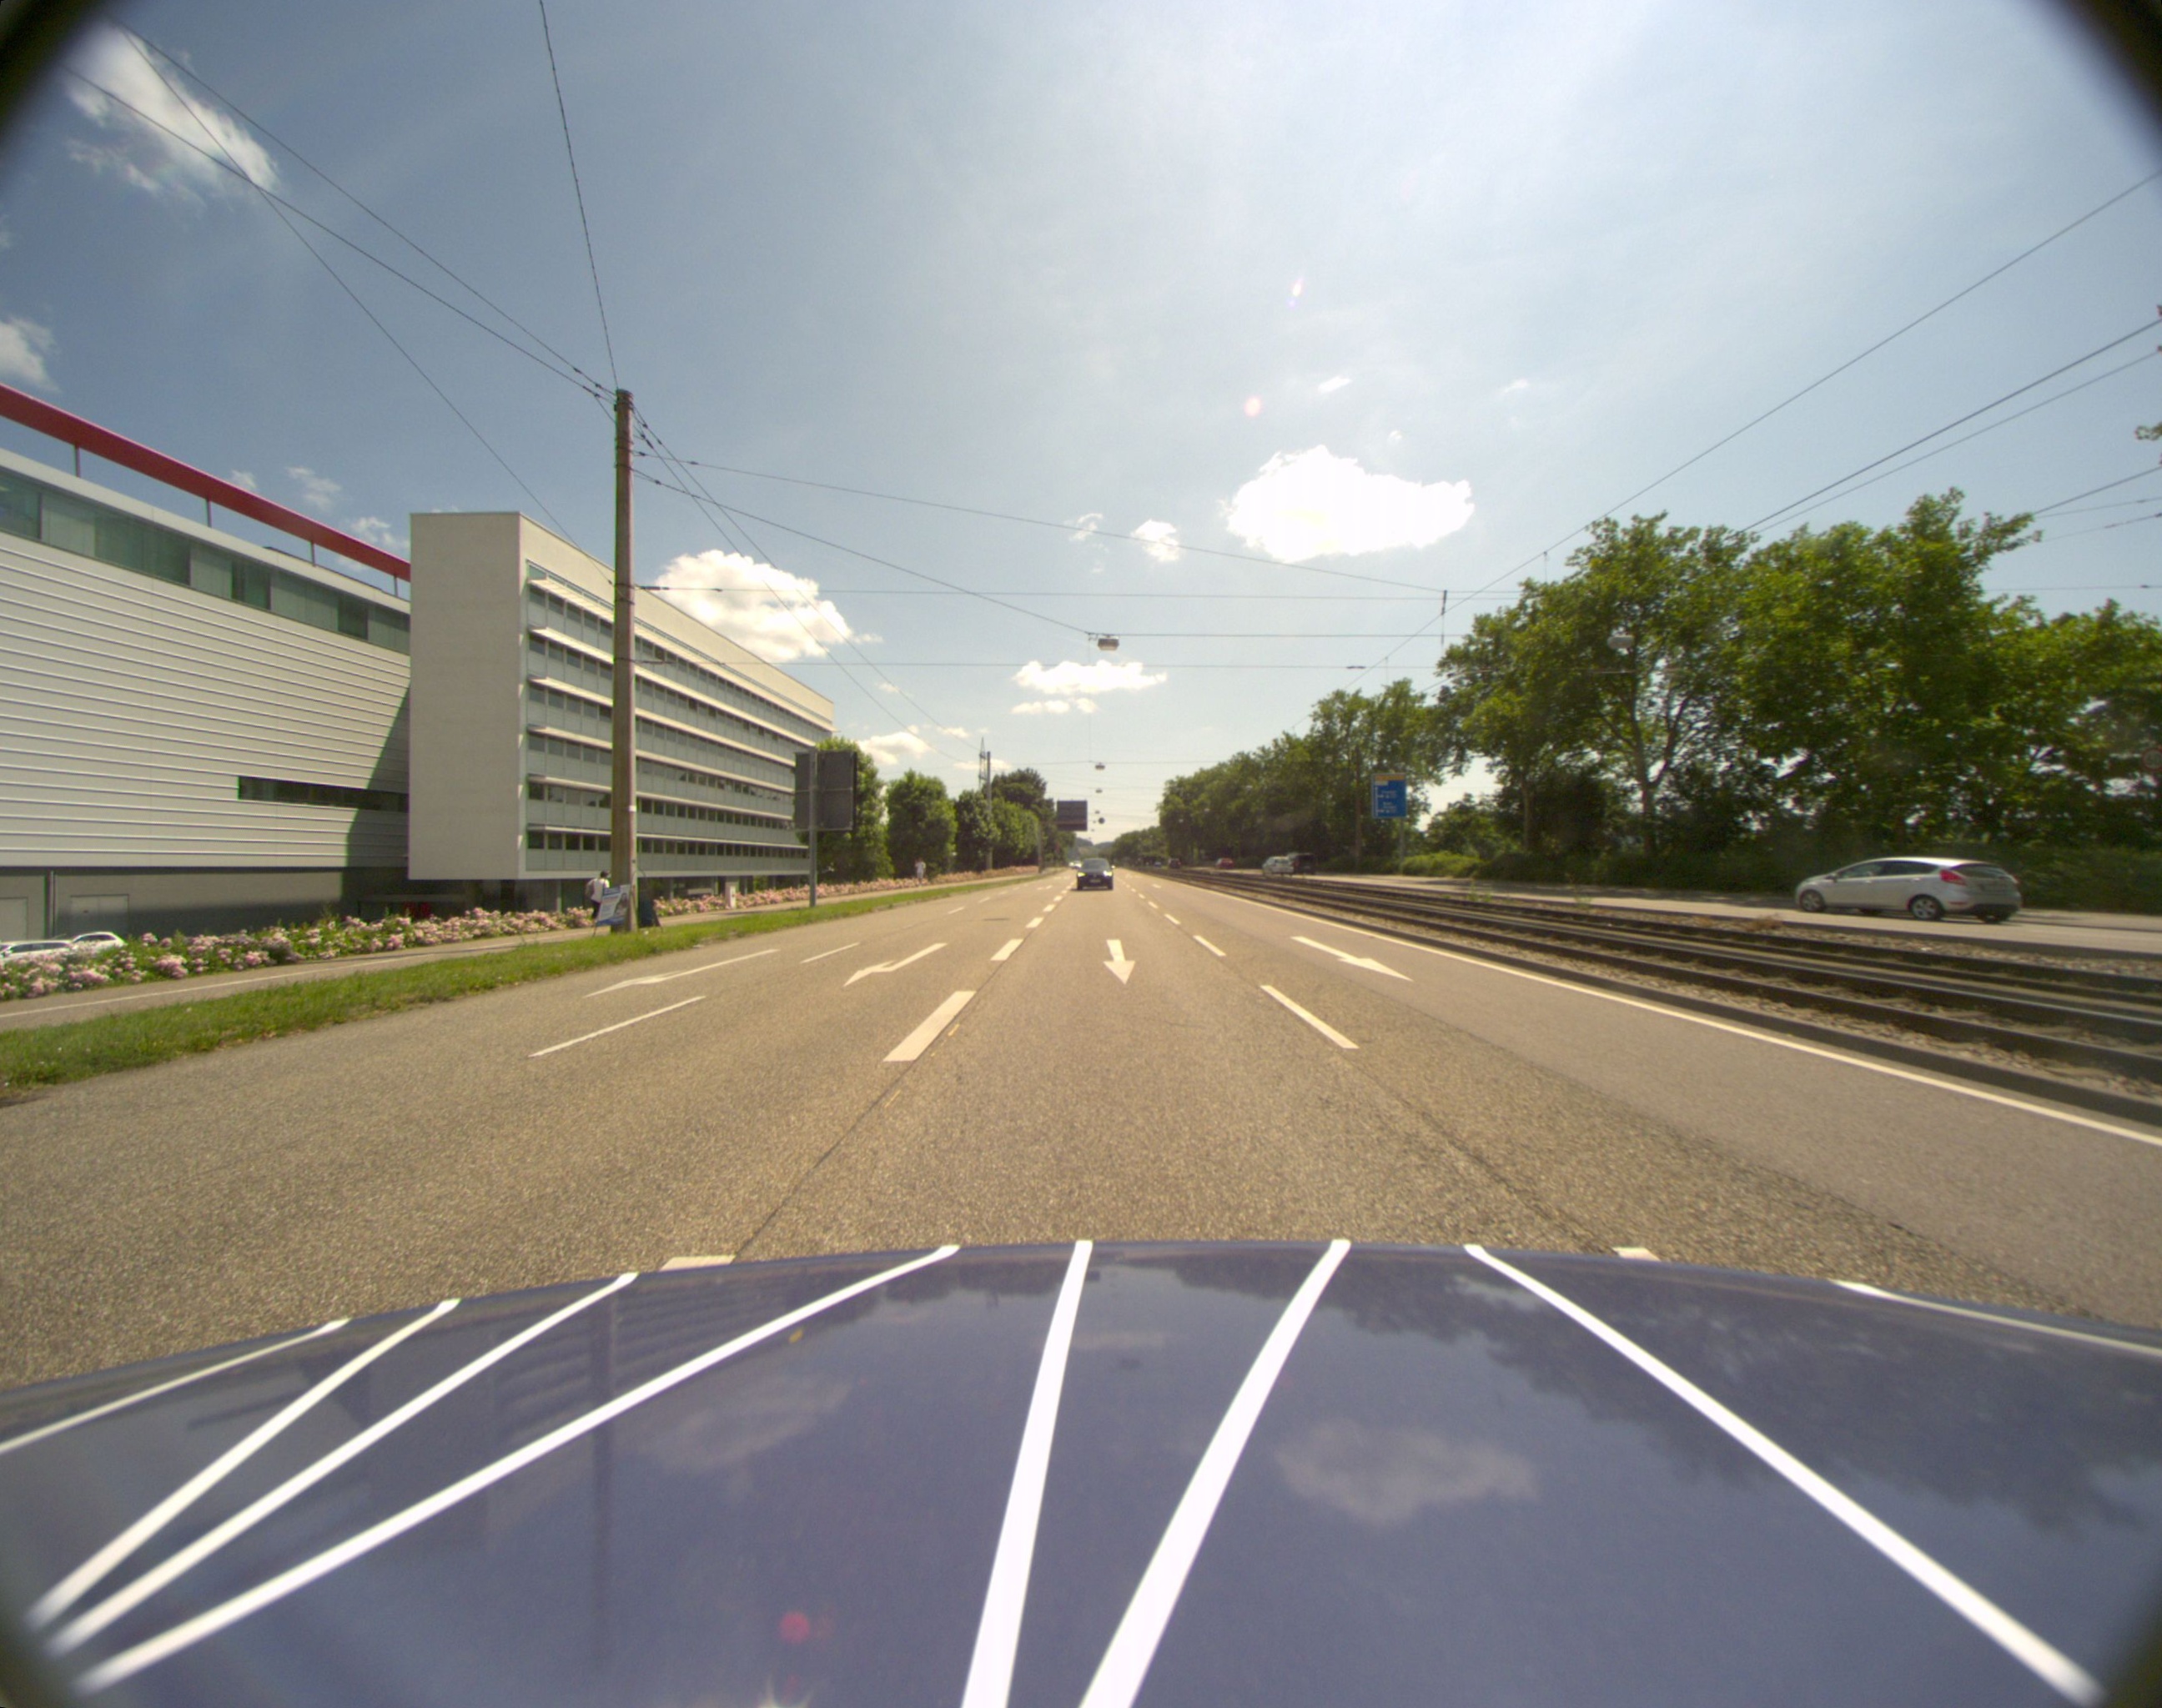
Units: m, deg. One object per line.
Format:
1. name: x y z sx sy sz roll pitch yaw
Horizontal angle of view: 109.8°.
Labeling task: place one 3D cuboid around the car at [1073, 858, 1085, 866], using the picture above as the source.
1. car: -0.320 1.444 133.023 1.896 1.331 4.000 -2 0 1

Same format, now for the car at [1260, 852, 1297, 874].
1. car: 15.216 0.659 58.753 1.690 1.574 4.058 2 0 -1

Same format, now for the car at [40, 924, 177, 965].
1. car: -51.025 4.725 40.005 1.998 1.602 4.000 -2 0 1

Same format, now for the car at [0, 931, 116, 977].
1. car: -48.687 4.655 34.921 1.998 1.602 5.146 -2 0 1

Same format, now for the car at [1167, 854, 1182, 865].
1. car: 16.050 1.003 130.670 1.999 1.820 4.969 1 0 -1

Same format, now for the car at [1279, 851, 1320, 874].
1. car: 18.553 0.685 64.727 1.999 1.820 4.969 1 0 -1

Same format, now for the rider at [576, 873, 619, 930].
1. rider: -12.758 1.241 20.066 0.671 1.449 0.618 -2 1 1

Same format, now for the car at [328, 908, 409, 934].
1. car: -48.217 4.489 51.531 1.648 1.377 4.000 -2 0 1

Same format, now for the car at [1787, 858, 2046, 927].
1. car: 19.530 0.823 18.060 1.827 1.407 3.883 1 0 -1

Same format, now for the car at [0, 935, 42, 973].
1. car: -51.341 4.754 34.760 1.998 1.602 4.000 -2 0 1

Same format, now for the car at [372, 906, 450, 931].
1. car: -45.291 4.358 51.481 1.609 1.314 4.000 -2 0 1

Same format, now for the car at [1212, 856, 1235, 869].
1. car: 18.428 1.068 98.408 1.999 1.660 4.468 1 0 -1

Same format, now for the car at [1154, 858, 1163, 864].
1. car: 20.310 1.725 198.550 1.803 1.495 4.735 1 0 -1

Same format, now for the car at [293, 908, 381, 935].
1. car: -50.518 4.578 51.732 1.998 1.438 4.000 -2 0 1

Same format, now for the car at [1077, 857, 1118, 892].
1. car: 0.799 0.972 38.304 1.898 1.564 4.511 -1 0 1

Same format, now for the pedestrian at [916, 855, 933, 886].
1. pedestrian: -9.494 0.986 46.177 0.758 1.838 0.931 -2 1 3
